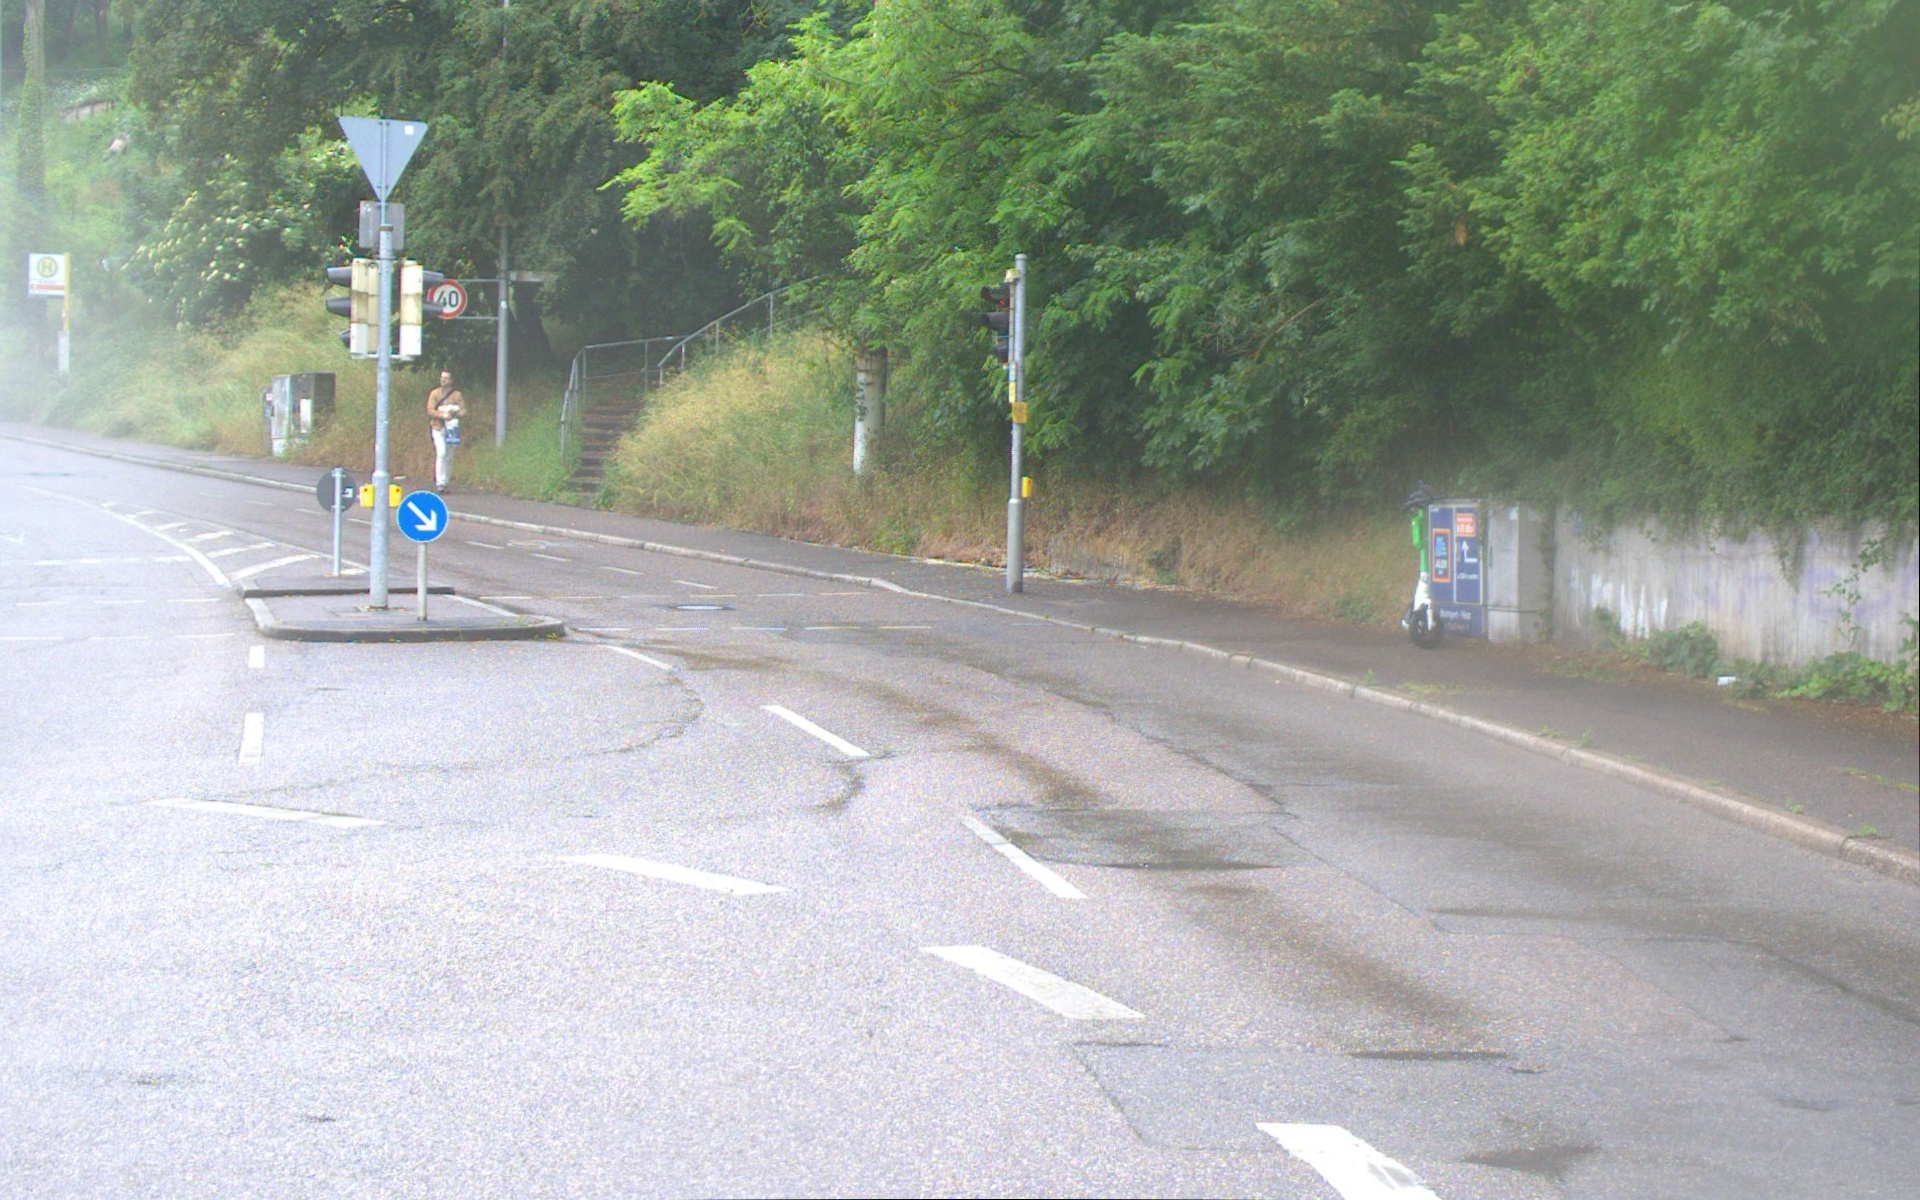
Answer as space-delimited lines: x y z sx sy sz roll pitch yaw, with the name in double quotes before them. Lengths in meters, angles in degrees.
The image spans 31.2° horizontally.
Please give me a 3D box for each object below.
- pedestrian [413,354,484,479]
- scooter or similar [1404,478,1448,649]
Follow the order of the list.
"pedestrian" -7.371 -2.632 49.498 0.880 1.730 0.866 0 0 -17
"scooter or similar" 3.589 -0.292 26.474 0.322 1.275 0.751 0 4 7
